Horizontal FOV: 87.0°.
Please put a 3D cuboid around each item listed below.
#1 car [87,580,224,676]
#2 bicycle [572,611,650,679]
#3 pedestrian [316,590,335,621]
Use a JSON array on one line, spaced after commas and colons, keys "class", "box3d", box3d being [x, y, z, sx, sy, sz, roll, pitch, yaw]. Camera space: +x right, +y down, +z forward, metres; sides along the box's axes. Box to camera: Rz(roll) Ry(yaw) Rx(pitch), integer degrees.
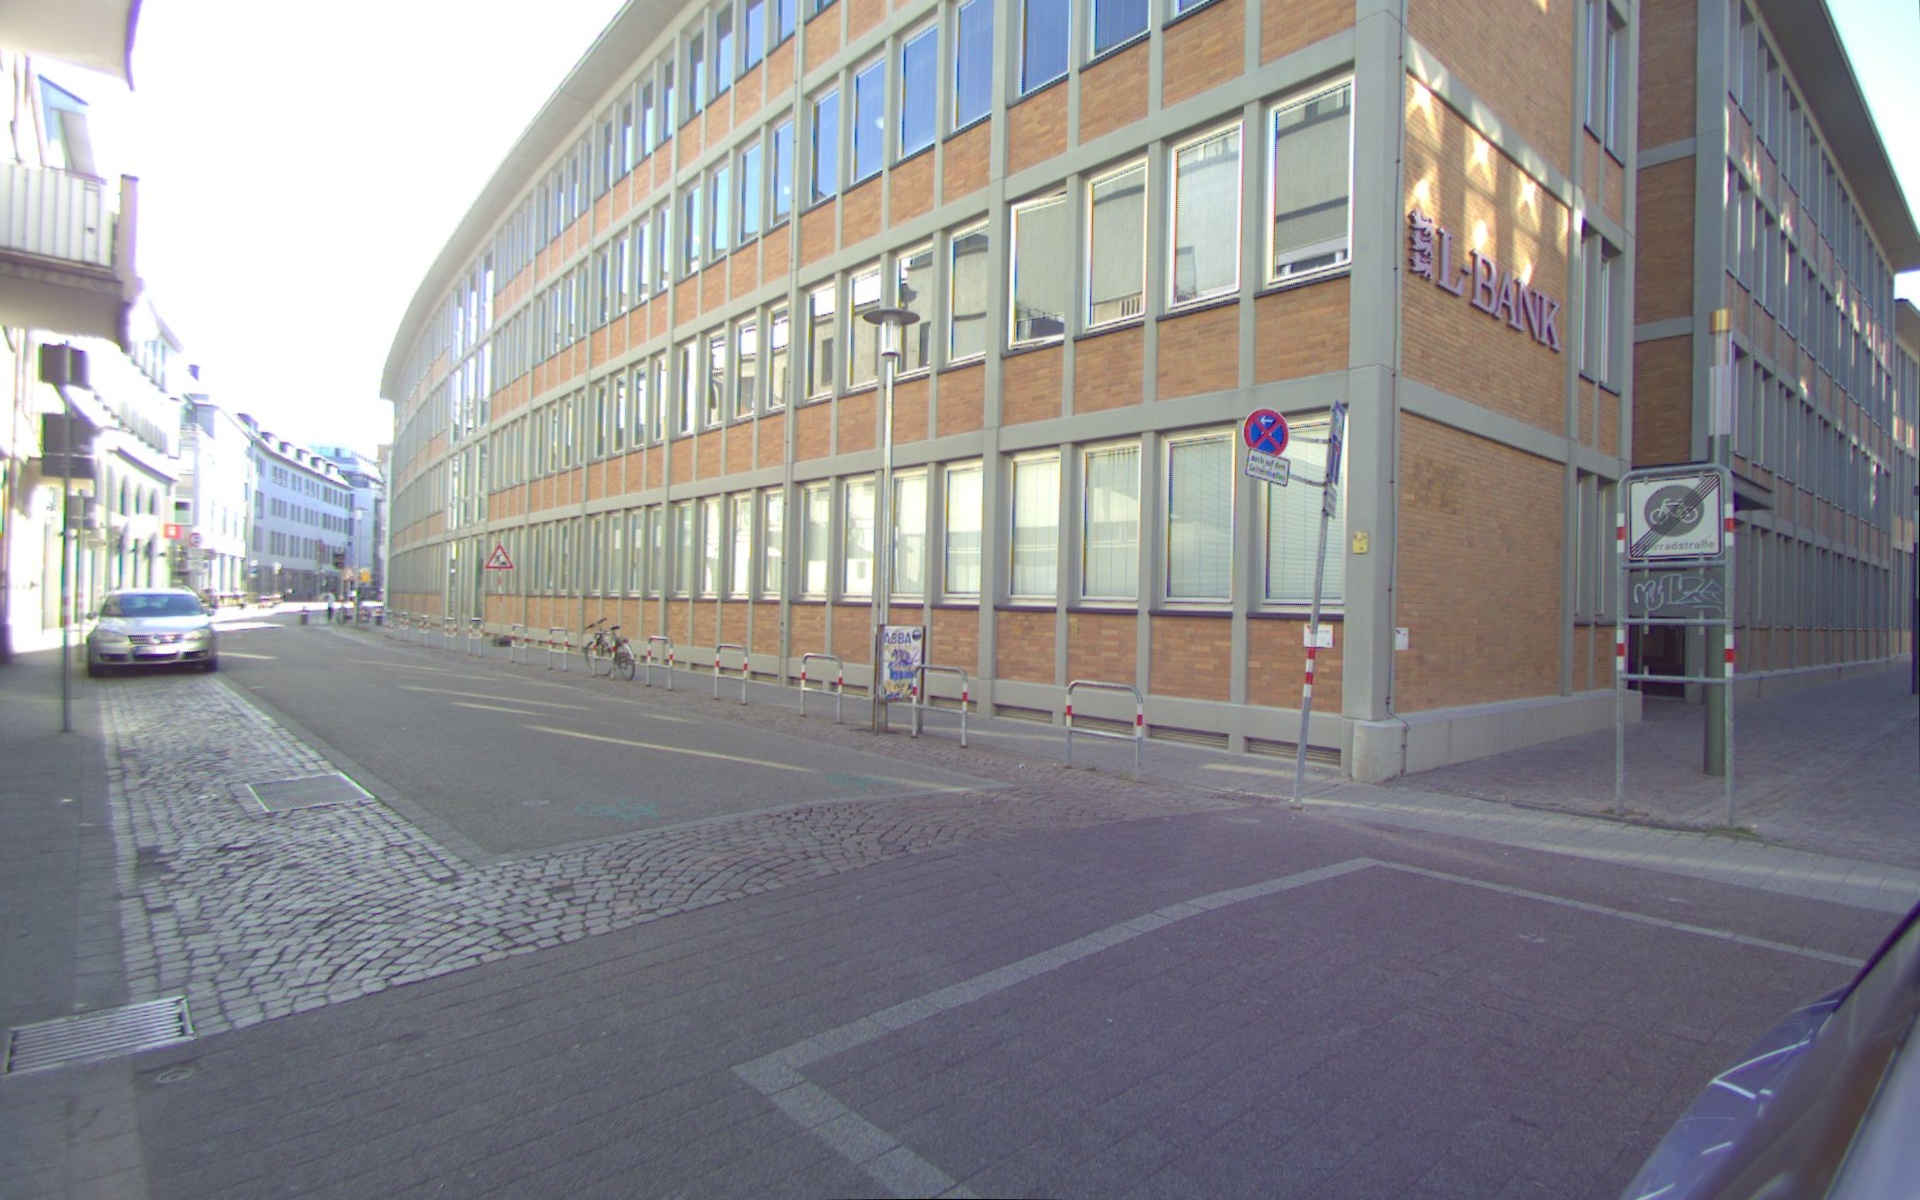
[{"class": "car", "box3d": [-14.309, 0.403, 17.967, 1.740, 1.488, 3.808, -1, 2, -40]}, {"class": "bicycle", "box3d": [-6.312, 0.778, 18.238, 0.627, 1.130, 1.927, 1, 0, -42]}, {"class": "pedestrian", "box3d": [-30.020, 0.251, 47.888, 0.647, 1.459, 0.595, 1, -1, -39]}]
